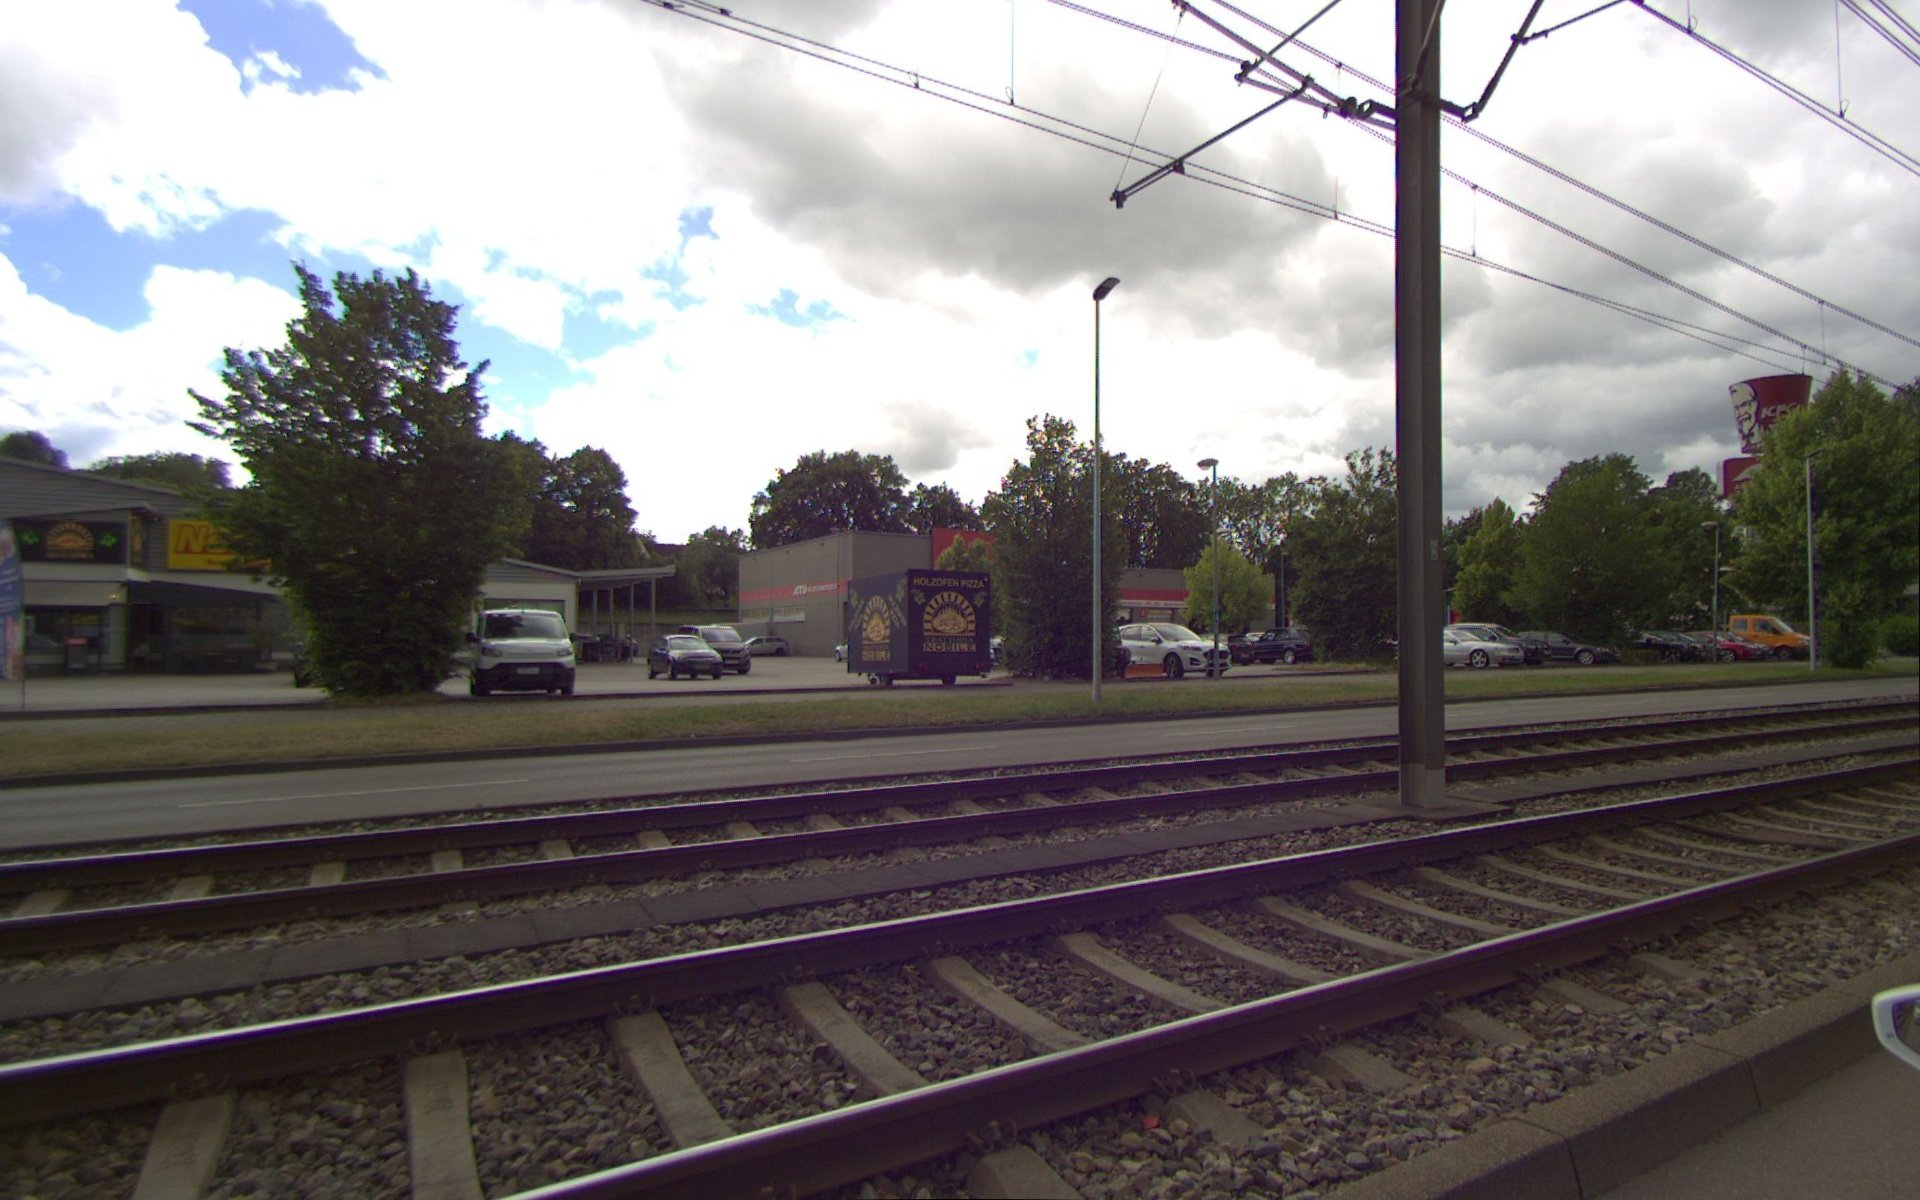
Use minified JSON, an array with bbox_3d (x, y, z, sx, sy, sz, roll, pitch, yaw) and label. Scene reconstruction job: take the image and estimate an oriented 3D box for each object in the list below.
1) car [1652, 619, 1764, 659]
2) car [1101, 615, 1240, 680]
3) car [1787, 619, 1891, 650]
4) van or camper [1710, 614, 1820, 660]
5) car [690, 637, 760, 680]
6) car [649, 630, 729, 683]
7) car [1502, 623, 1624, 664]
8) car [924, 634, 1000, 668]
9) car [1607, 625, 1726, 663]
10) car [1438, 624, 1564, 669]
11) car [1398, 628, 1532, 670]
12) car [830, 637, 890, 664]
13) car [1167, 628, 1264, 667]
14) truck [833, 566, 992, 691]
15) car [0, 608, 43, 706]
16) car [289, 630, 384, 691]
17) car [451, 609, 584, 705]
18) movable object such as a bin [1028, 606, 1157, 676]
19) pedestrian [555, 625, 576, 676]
[{"bbox_3d":[35.866,1.832,48.259,1.859,1.821,3.962,1,-1,-34],"label":"car"},{"bbox_3d":[6.287,1.415,30.391,1.859,1.821,3.963,1,-2,-34],"label":"car"},{"bbox_3d":[48.151,1.889,55.112,1.778,1.620,3.963,1,-2,-34],"label":"car"},{"bbox_3d":[40.376,1.799,50.435,1.859,2.163,3.962,1,-1,-34],"label":"van or camper"},{"bbox_3d":[-9.486,2.311,40.361,1.668,1.661,3.903,1,-2,-30],"label":"car"},{"bbox_3d":[-9.189,1.863,33.911,1.668,1.661,3.903,1,-2,-30],"label":"car"},{"bbox_3d":[25.130,1.822,42.006,1.859,1.620,3.963,1,-2,-34],"label":"car"},{"bbox_3d":[0.051,2.325,46.209,1.664,1.491,3.716,1,-3,-36],"label":"car"},{"bbox_3d":[31.491,1.963,44.871,1.859,1.620,3.963,1,-2,-34],"label":"car"},{"bbox_3d":[21.112,1.800,39.325,1.859,1.656,3.963,1,-2,-34],"label":"car"},{"bbox_3d":[18.934,1.790,37.843,1.661,1.491,4.284,1,-2,-31],"label":"car"},{"bbox_3d":[-5.627,2.807,56.156,1.752,1.491,3.716,1,-3,-36],"label":"car"},{"bbox_3d":[11.815,2.197,46.718,1.917,1.706,4.265,1,-2,-30],"label":"car"},{"bbox_3d":[-1.281,0.730,25.170,2.350,2.859,3.966,1,-2,-32],"label":"truck"},{"bbox_3d":[-17.137,0.948,16.011,2.619,1.650,4.762,0,-2,-29],"label":"car"},{"bbox_3d":[-17.859,1.697,28.927,1.669,1.617,3.979,0,-2,-23],"label":"car"},{"bbox_3d":[-9.148,1.117,20.562,1.973,1.750,4.199,1,-2,-31],"label":"car"},{"bbox_3d":[3.887,1.224,30.084,1.661,1.963,3.964,1,-3,-33],"label":"movable object such as a bin"},{"bbox_3d":[-14.913,1.908,38.005,0.656,1.879,0.542,1,-2,-30],"label":"pedestrian"}]
